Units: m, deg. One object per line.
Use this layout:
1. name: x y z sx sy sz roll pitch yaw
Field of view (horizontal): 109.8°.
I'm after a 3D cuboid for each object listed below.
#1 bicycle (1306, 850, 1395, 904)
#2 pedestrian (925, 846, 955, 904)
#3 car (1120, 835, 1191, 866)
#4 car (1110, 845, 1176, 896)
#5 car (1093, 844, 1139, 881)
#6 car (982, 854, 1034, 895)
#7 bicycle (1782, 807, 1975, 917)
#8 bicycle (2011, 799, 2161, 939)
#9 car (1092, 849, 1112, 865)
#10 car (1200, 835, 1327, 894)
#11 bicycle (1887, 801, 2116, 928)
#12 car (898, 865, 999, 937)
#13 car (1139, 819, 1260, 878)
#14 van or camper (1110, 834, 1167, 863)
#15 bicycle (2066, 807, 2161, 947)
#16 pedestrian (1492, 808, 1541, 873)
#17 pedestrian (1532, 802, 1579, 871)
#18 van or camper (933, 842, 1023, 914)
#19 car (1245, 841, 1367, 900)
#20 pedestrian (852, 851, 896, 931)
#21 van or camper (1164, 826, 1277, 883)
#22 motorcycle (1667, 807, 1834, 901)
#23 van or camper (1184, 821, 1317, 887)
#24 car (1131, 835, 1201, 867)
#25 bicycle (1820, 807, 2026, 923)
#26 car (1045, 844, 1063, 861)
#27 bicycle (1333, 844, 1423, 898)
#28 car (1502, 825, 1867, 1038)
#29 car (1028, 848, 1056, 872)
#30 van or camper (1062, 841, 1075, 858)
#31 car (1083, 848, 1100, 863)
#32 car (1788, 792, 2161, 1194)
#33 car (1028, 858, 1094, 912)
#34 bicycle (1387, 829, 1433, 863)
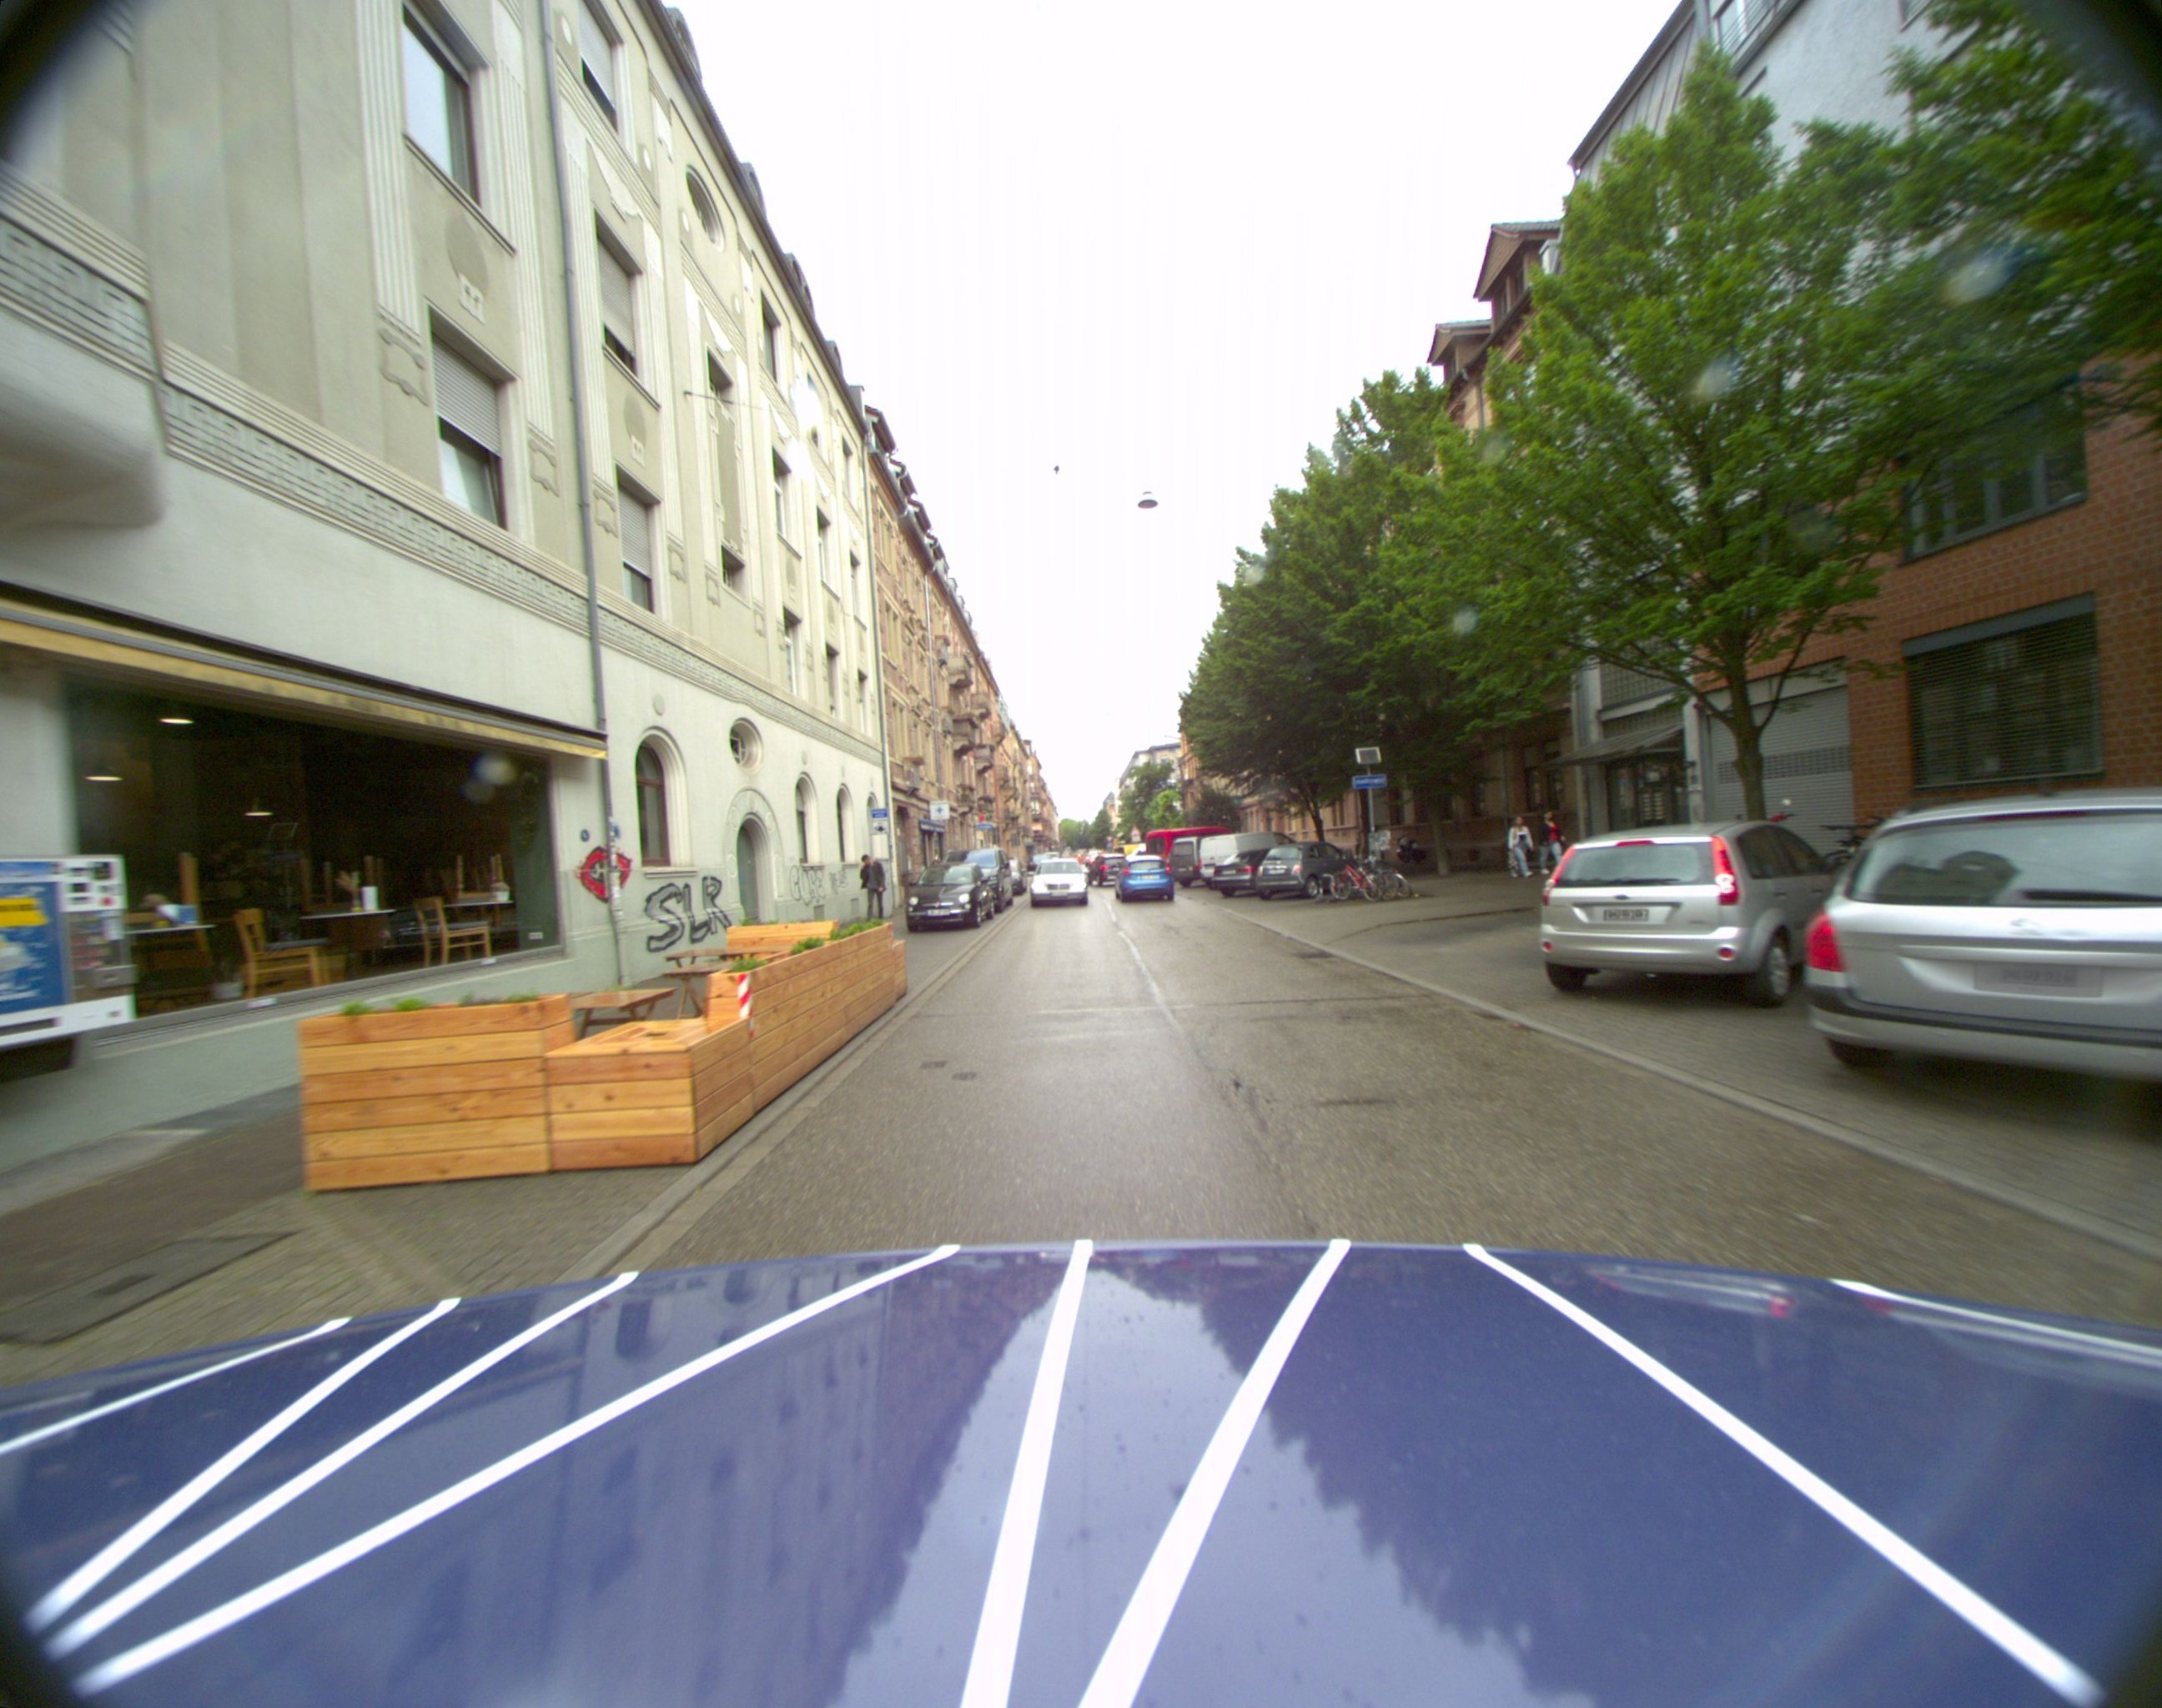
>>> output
1. bicycle: 6.281 0.546 17.886 0.751 1.151 2.217 -4 -1 -16
2. pedestrian: -5.004 0.742 27.006 0.827 2.003 0.415 -4 3 0
3. car: 5.915 -0.306 60.286 5.258 2.066 1.866 -5 2 -25
4. car: 1.960 0.487 25.047 1.674 1.457 4.002 -3 1 -1
5. car: 1.776 0.369 36.941 1.672 1.550 4.005 -3 1 10
6. car: -3.077 0.831 32.622 1.846 1.536 4.002 -3 1 -1
7. bicycle: 10.423 0.100 9.955 1.901 1.146 0.553 -8 1 -2
8. bicycle: 10.488 0.103 7.508 1.901 1.146 0.553 -8 1 -2
9. car: 2.082 0.291 76.046 1.800 1.485 4.583 -4 0 1
10. car: 5.794 0.316 23.953 3.985 1.438 1.763 -6 1 -40
11. bicycle: 10.388 0.110 8.600 1.901 1.146 0.553 -8 1 -2
12. car: -3.007 1.020 17.953 1.714 1.392 3.704 -2 1 -1
13. car: 5.946 -0.297 37.894 5.580 2.526 2.225 -4 1 -27
14. van or camper: 5.429 -0.512 71.584 4.733 2.255 2.180 -6 0 -32
15. bicycle: 10.435 0.126 7.035 1.901 1.146 0.553 -8 1 -2
16. pedestrian: 10.618 -0.321 18.544 0.690 1.488 0.587 -7 1 -5
17. pedestrian: 11.387 -0.412 18.259 0.568 1.593 0.589 -7 1 -5
18. van or camper: -2.986 0.644 23.180 2.027 1.880 5.054 -2 1 -1
19. car: 6.338 0.418 21.265 3.487 1.427 1.647 -3 1 -42
20. pedestrian: -5.162 0.915 18.968 0.827 1.941 0.415 -4 3 0
21. van or camper: 5.827 0.000 31.493 4.454 1.964 1.777 -5 1 -33
22. motorcycle: 10.612 0.004 12.089 1.886 1.218 0.656 -8 1 3
23. van or camper: 6.352 -0.025 28.224 4.705 1.941 2.331 -6 0 -41
24. car: 6.062 -0.211 54.822 4.590 1.775 2.545 -6 1 -1
25. bicycle: 10.410 0.123 9.424 1.901 1.146 0.553 -8 1 -2
26. car: -3.311 -0.259 92.668 1.999 1.928 5.228 -2 1 -3
27. bicycle: 7.032 0.418 18.111 0.784 1.151 2.144 -4 -1 -16
28. car: 5.781 0.525 7.155 3.720 1.443 1.681 -3 1 -35
29. car: -3.134 0.473 62.205 1.999 1.769 4.825 -3 1 -1
30. van or camper: -2.554 -0.884 154.642 2.411 3.308 7.072 -4 0 -1
31. car: 1.266 0.156 92.947 1.863 1.650 5.007 -3 0 0
32. car: 5.644 0.505 4.274 3.392 1.645 1.630 -3 1 -33
33. car: -0.696 0.921 24.936 1.859 1.391 4.978 -4 1 -2
34. bicycle: 12.816 -0.316 29.695 0.669 1.186 2.412 -7 0 1
